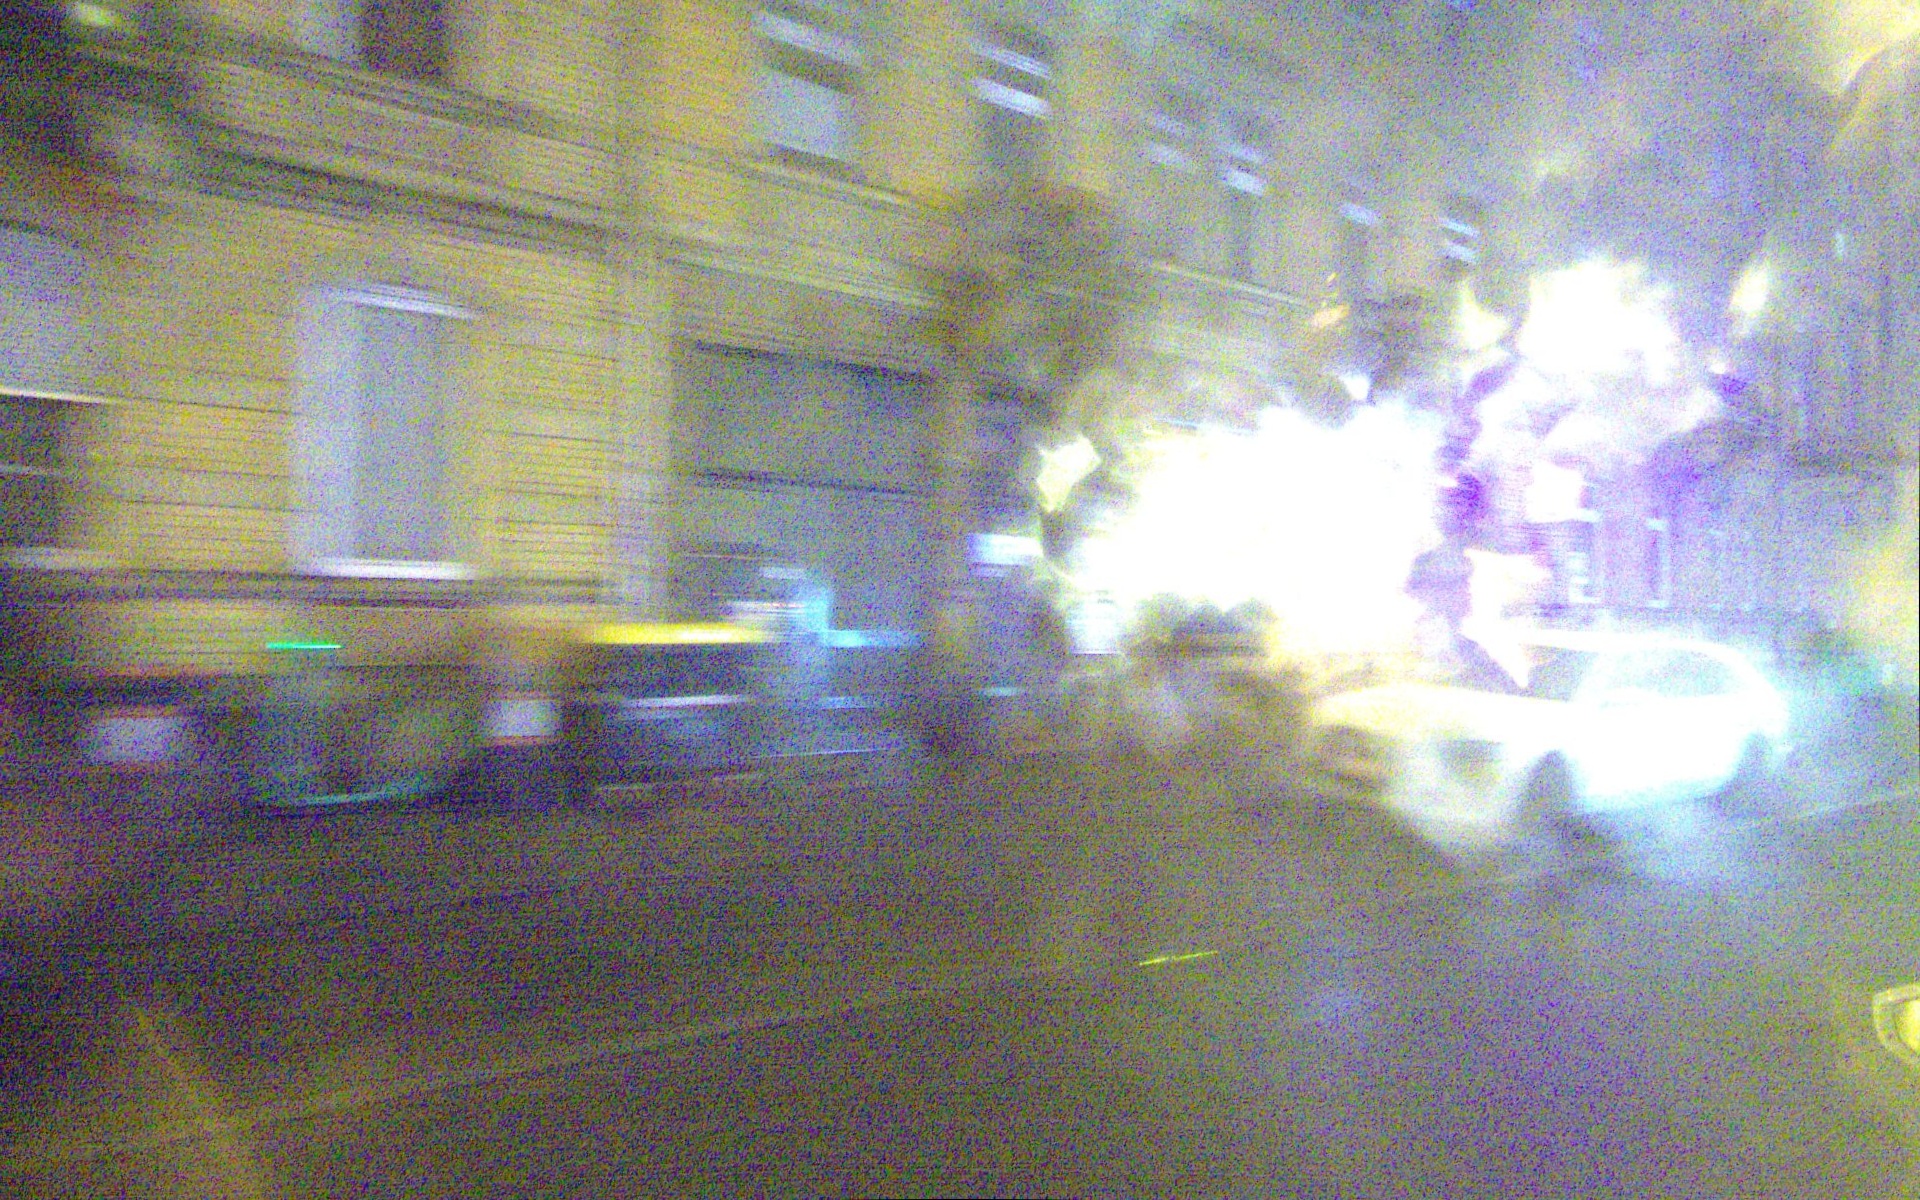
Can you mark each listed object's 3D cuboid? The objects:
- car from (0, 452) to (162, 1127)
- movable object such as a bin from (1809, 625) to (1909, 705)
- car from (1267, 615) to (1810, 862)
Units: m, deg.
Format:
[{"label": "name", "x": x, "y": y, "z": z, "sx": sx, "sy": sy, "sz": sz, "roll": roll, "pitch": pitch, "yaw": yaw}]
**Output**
[{"label": "car", "x": -5.328, "y": 0.489, "z": 2.333, "sx": 5.145, "sy": 1.853, "sz": 1.987, "roll": 1, "pitch": -1, "yaw": -30}, {"label": "movable object such as a bin", "x": 17.341, "y": 1.231, "z": 19.377, "sx": 1.364, "sy": 1.473, "sz": 1.095, "roll": 1, "pitch": -2, "yaw": -32}, {"label": "car", "x": 4.948, "y": 0.947, "z": 8.412, "sx": 4.715, "sy": 1.503, "sz": 1.759, "roll": 1, "pitch": 2, "yaw": -30}]
